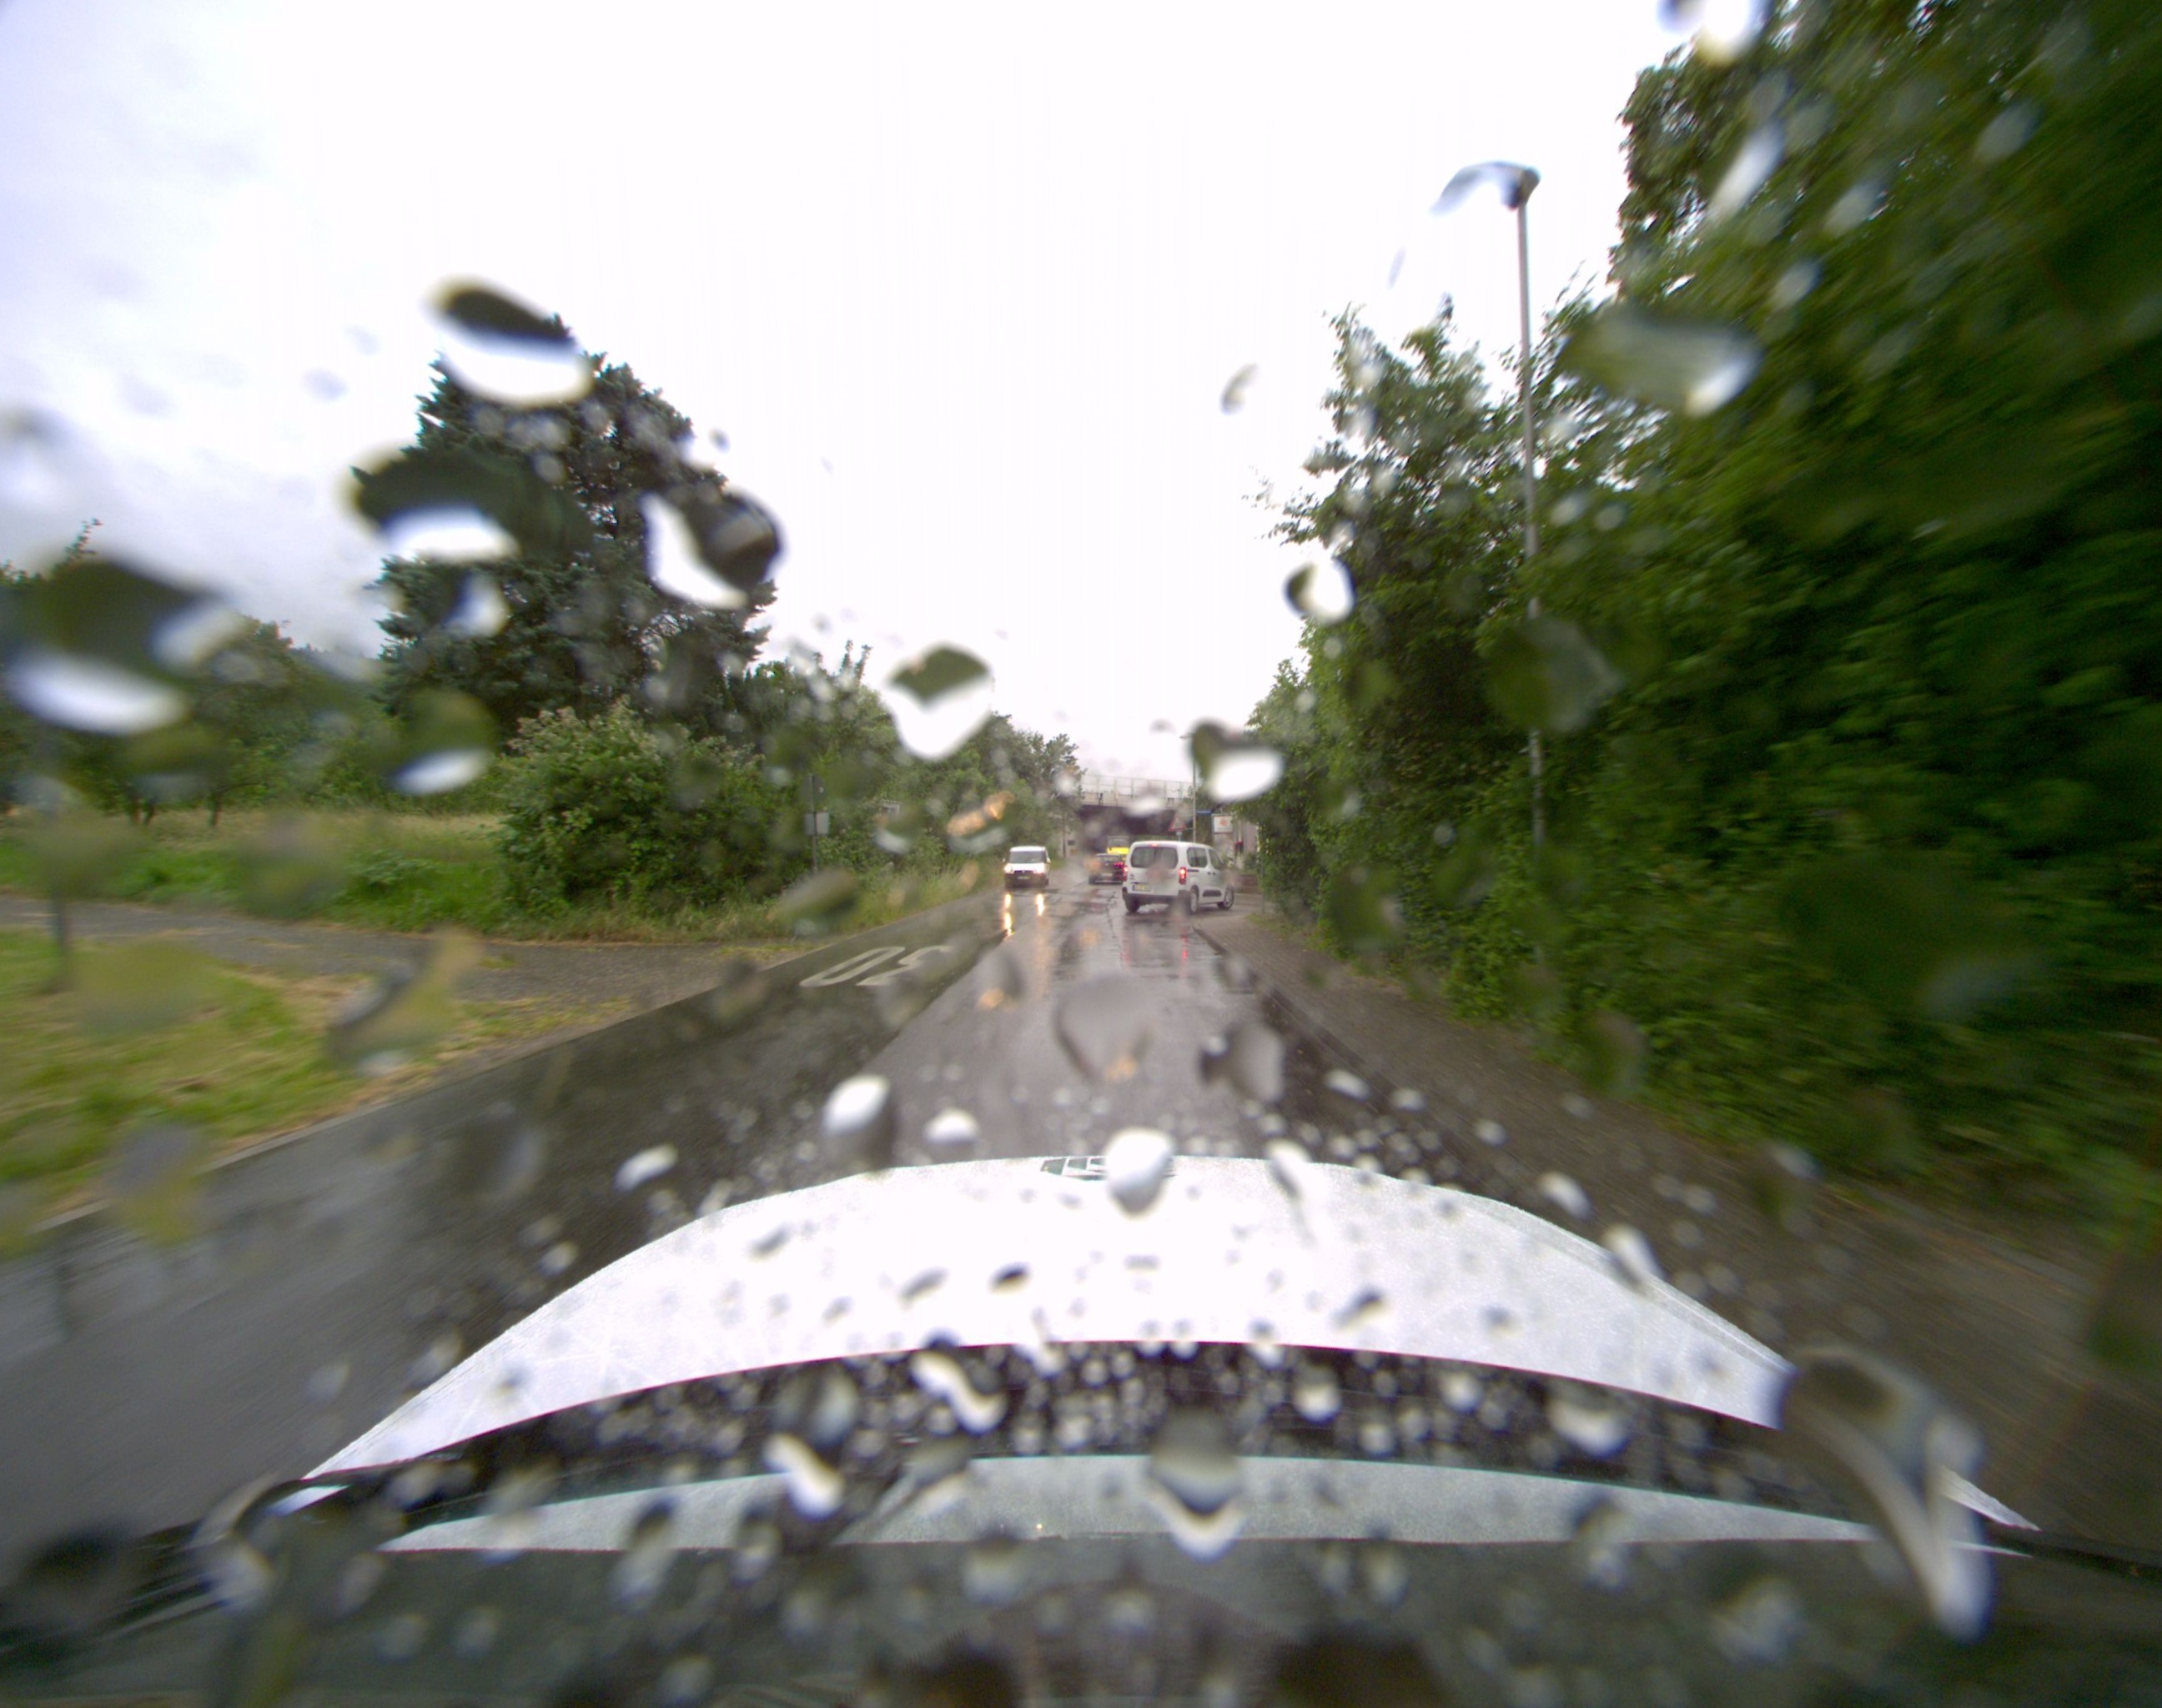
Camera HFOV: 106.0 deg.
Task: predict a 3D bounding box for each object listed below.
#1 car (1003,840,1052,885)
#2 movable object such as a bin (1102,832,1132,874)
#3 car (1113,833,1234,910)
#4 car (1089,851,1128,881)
[{"bbox_3d":[-2.296,0.348,36.045,1.817,1.831,4.307,0,0,0],"label":"car"},{"bbox_3d":[2.334,-0.072,51.453,1.753,2.547,4.244,0,0,4],"label":"movable object such as a bin"},{"bbox_3d":[2.551,0.387,21.542,1.879,1.807,4.024,-1,1,27],"label":"car"},{"bbox_3d":[1.397,0.560,39.498,1.701,1.377,4.005,0,0,4],"label":"car"}]
